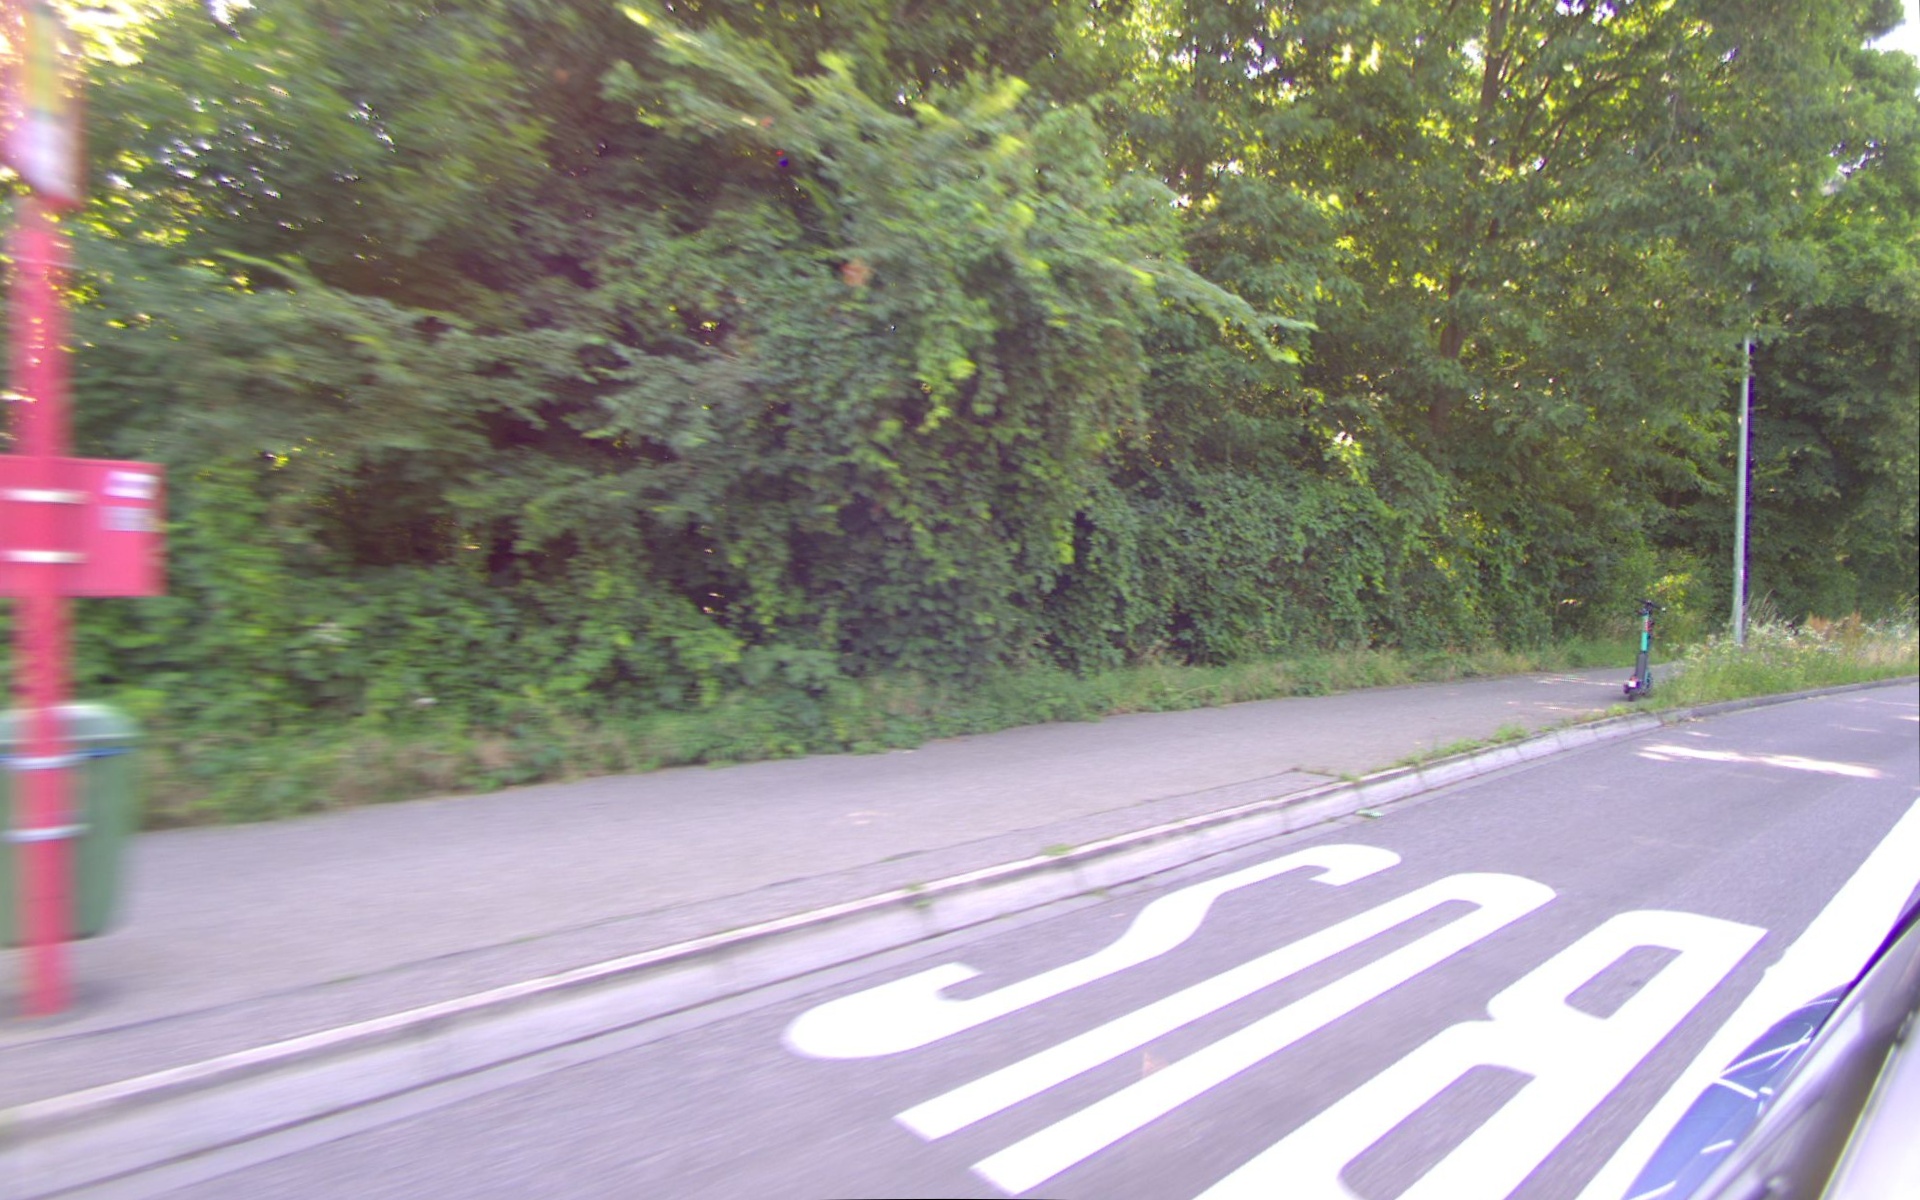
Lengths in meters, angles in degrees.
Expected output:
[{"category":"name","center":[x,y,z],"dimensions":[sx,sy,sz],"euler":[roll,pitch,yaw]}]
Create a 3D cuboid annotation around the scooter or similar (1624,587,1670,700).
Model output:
[{"category":"scooter or similar","center":[8.588,0.506,12.663],"dimensions":[0.398,1.323,1.314],"euler":[3,2,34]}]
